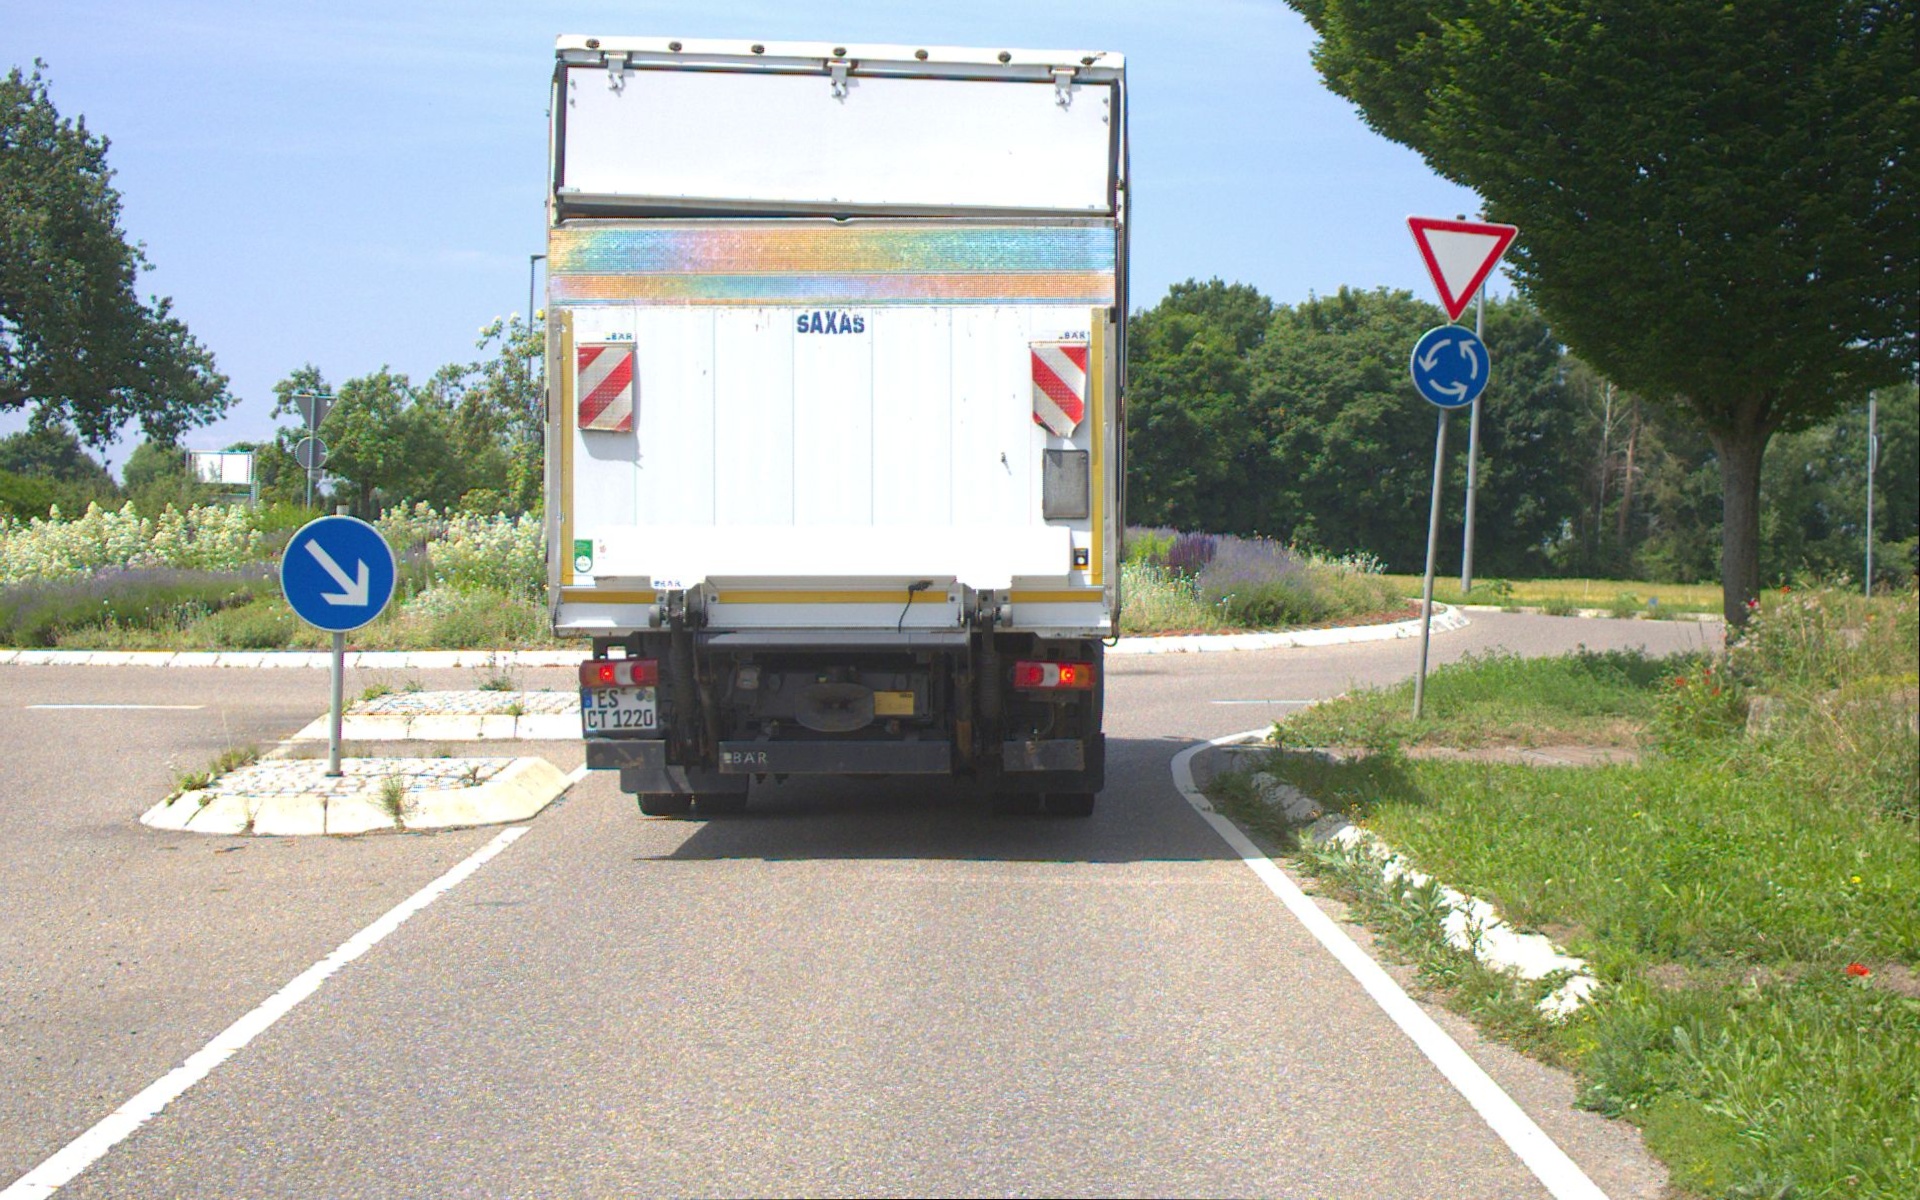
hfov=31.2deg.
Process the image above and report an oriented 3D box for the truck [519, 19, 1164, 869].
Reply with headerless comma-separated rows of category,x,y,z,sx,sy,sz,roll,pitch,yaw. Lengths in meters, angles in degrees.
truck,-0.615,-0.778,19.576,2.767,3.658,9.383,0,1,-1
